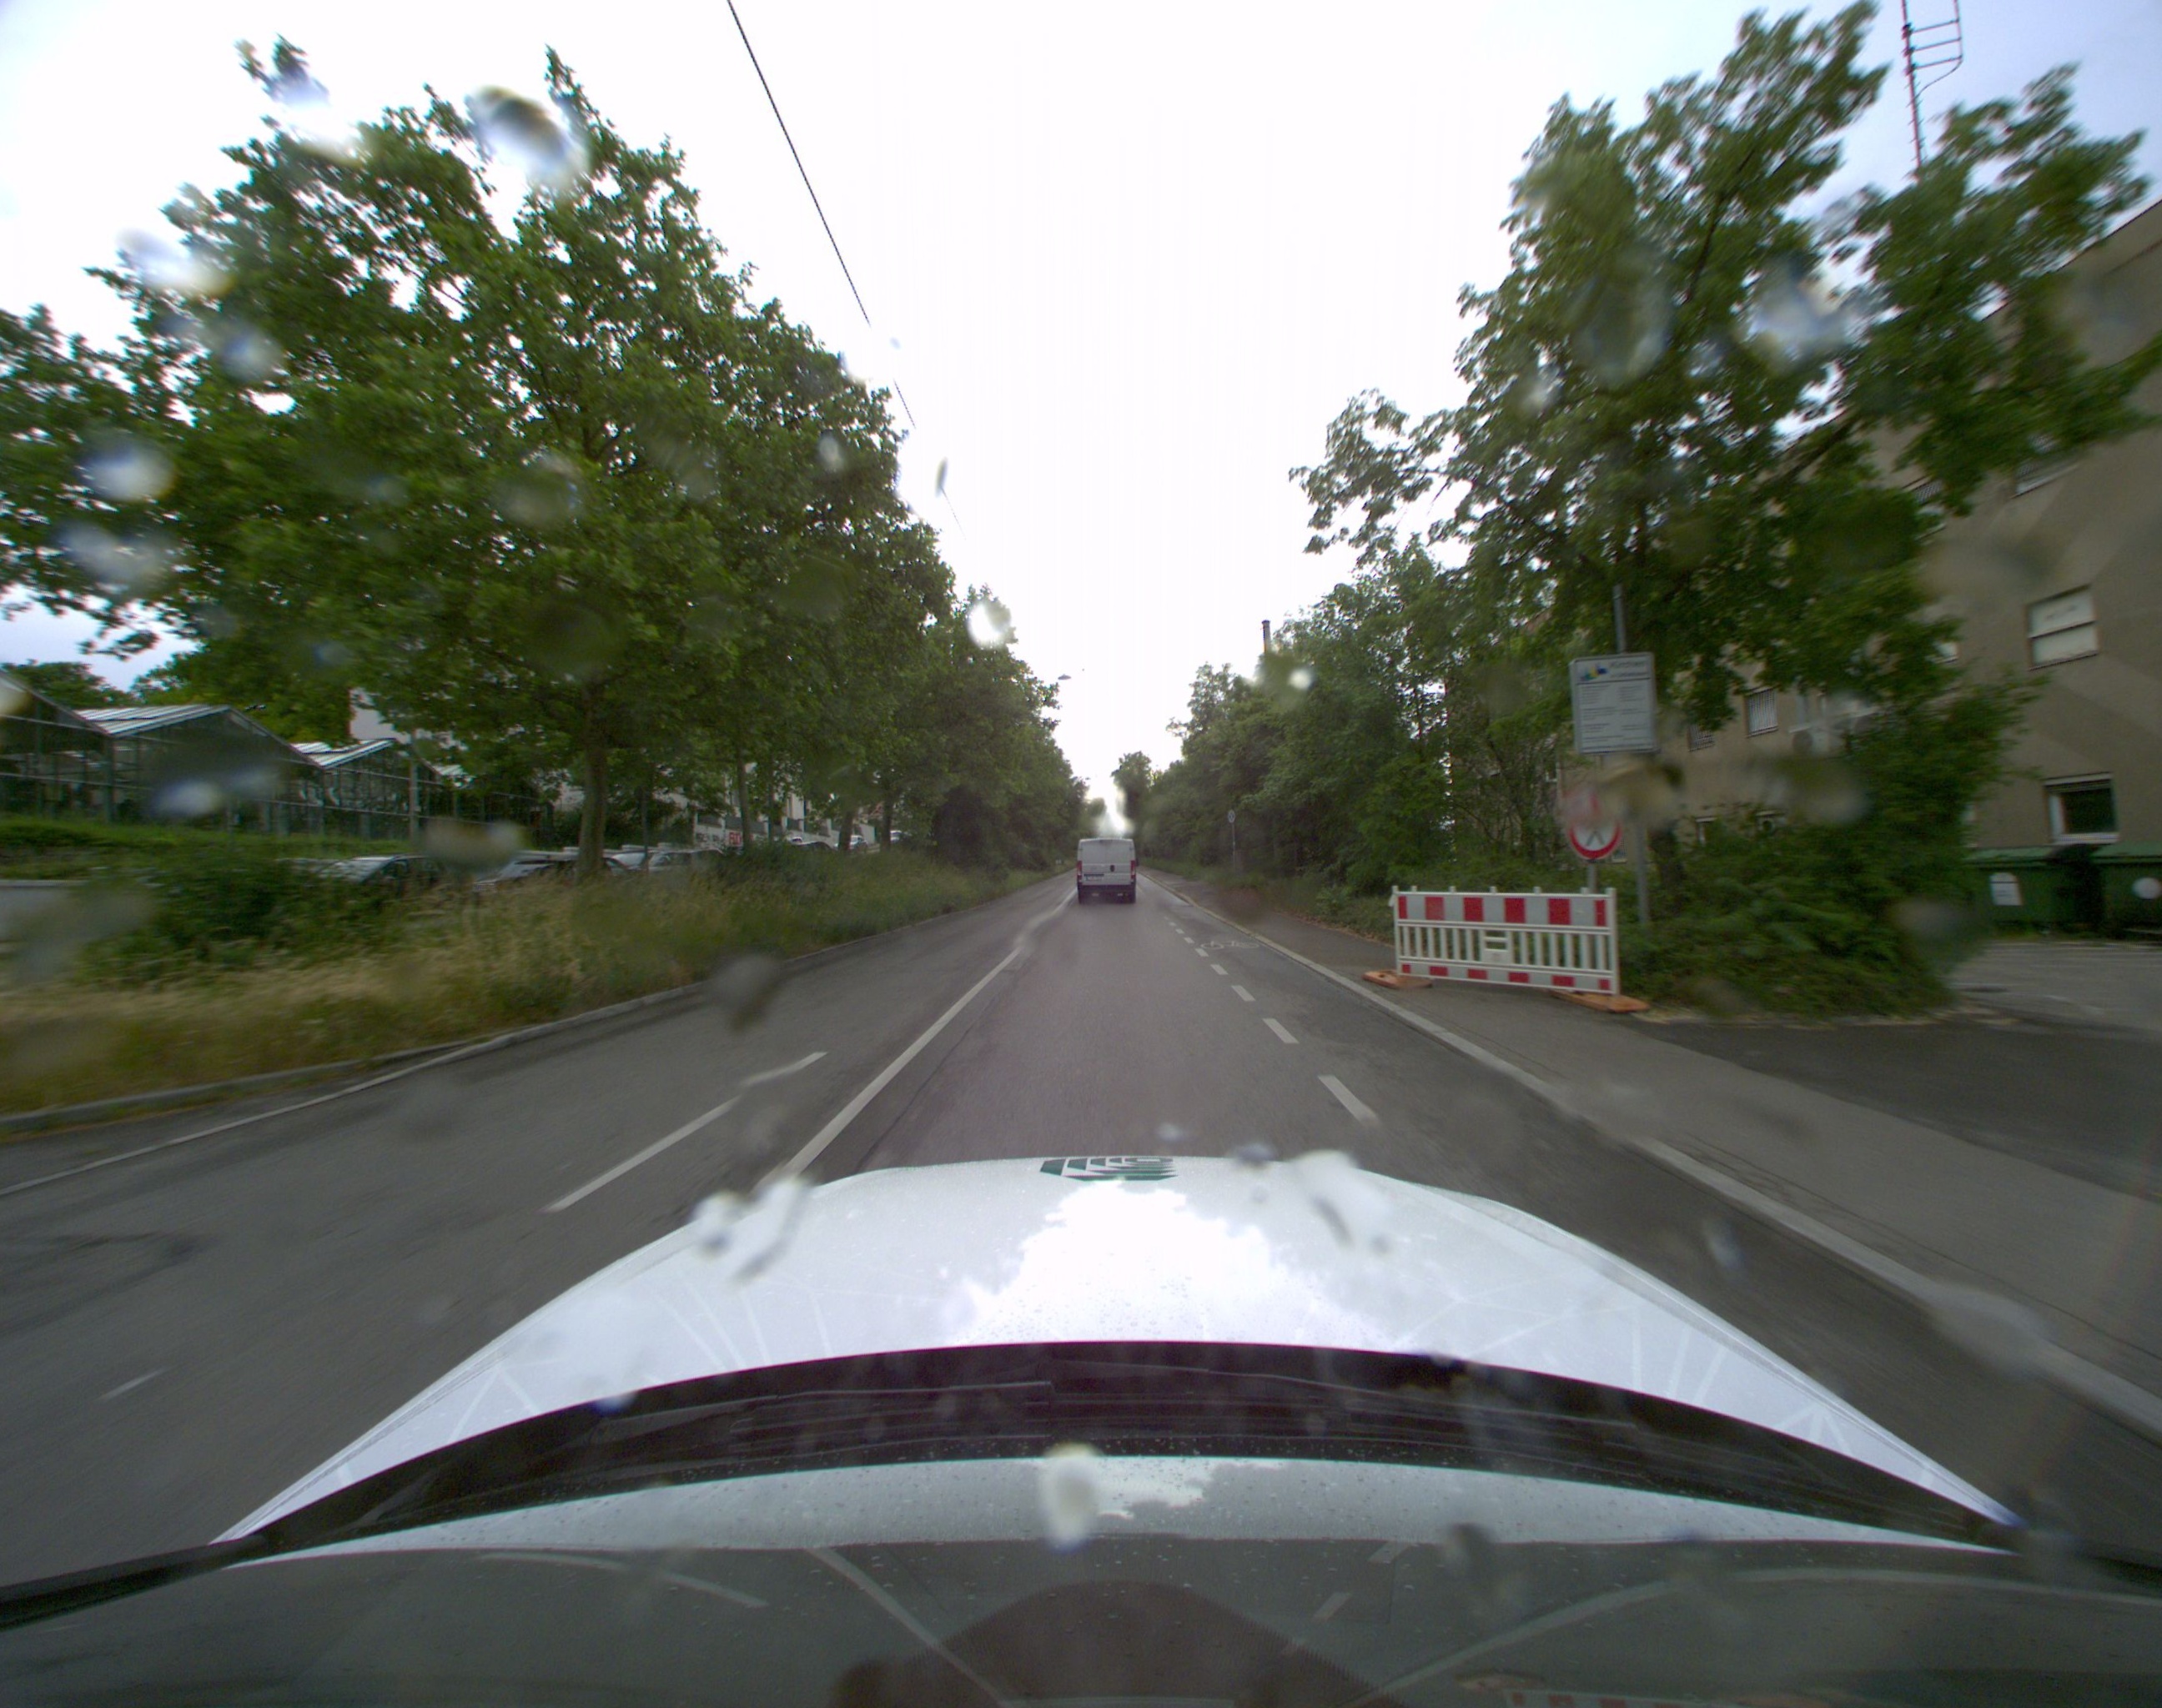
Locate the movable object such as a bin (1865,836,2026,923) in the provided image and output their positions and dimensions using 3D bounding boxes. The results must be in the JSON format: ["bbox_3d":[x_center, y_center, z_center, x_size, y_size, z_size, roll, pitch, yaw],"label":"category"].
[{"bbox_3d":[15.431,0.442,14.606,1.299,1.416,1.432,-3,0,4],"label":"movable object such as a bin"}]

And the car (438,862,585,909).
[{"bbox_3d":[-18.268,1.008,26.387,1.810,1.291,4.120,-3,-2,0],"label":"car"}]

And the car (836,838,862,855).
[{"bbox_3d":[-18.031,-0.587,63.330,1.209,1.133,2.453,-3,-2,2],"label":"car"}]

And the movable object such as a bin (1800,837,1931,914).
[{"bbox_3d":[15.581,0.410,16.233,1.266,1.416,1.358,-3,0,4],"label":"movable object such as a bin"}]

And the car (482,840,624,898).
[{"bbox_3d":[-11.642,0.359,18.146,1.346,1.131,2.751,-3,-2,0],"label":"car"}]

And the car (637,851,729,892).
[{"bbox_3d":[-11.814,0.541,24.326,1.346,1.096,2.751,-3,-2,0],"label":"car"}]

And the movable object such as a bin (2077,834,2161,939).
[{"bbox_3d":[15.607,0.442,11.575,1.207,1.416,1.333,-3,0,4],"label":"movable object such as a bin"}]

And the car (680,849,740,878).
[{"bbox_3d":[-17.968,0.491,39.532,1.355,1.310,3.087,-3,-2,2],"label":"car"}]

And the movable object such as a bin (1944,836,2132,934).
[{"bbox_3d":[15.316,0.473,13.105,1.299,1.416,1.420,-3,0,4],"label":"movable object such as a bin"}]

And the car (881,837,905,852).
[{"bbox_3d":[-18.377,-0.918,79.733,1.595,1.250,2.909,-3,-2,-1],"label":"car"}]

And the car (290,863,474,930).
[{"bbox_3d":[-17.662,1.048,20.797,1.644,1.487,3.515,-3,-2,0],"label":"car"}]

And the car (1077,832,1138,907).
[{"bbox_3d":[0.987,0.512,29.964,2.042,2.516,4.946,0,0,2],"label":"car"}]
